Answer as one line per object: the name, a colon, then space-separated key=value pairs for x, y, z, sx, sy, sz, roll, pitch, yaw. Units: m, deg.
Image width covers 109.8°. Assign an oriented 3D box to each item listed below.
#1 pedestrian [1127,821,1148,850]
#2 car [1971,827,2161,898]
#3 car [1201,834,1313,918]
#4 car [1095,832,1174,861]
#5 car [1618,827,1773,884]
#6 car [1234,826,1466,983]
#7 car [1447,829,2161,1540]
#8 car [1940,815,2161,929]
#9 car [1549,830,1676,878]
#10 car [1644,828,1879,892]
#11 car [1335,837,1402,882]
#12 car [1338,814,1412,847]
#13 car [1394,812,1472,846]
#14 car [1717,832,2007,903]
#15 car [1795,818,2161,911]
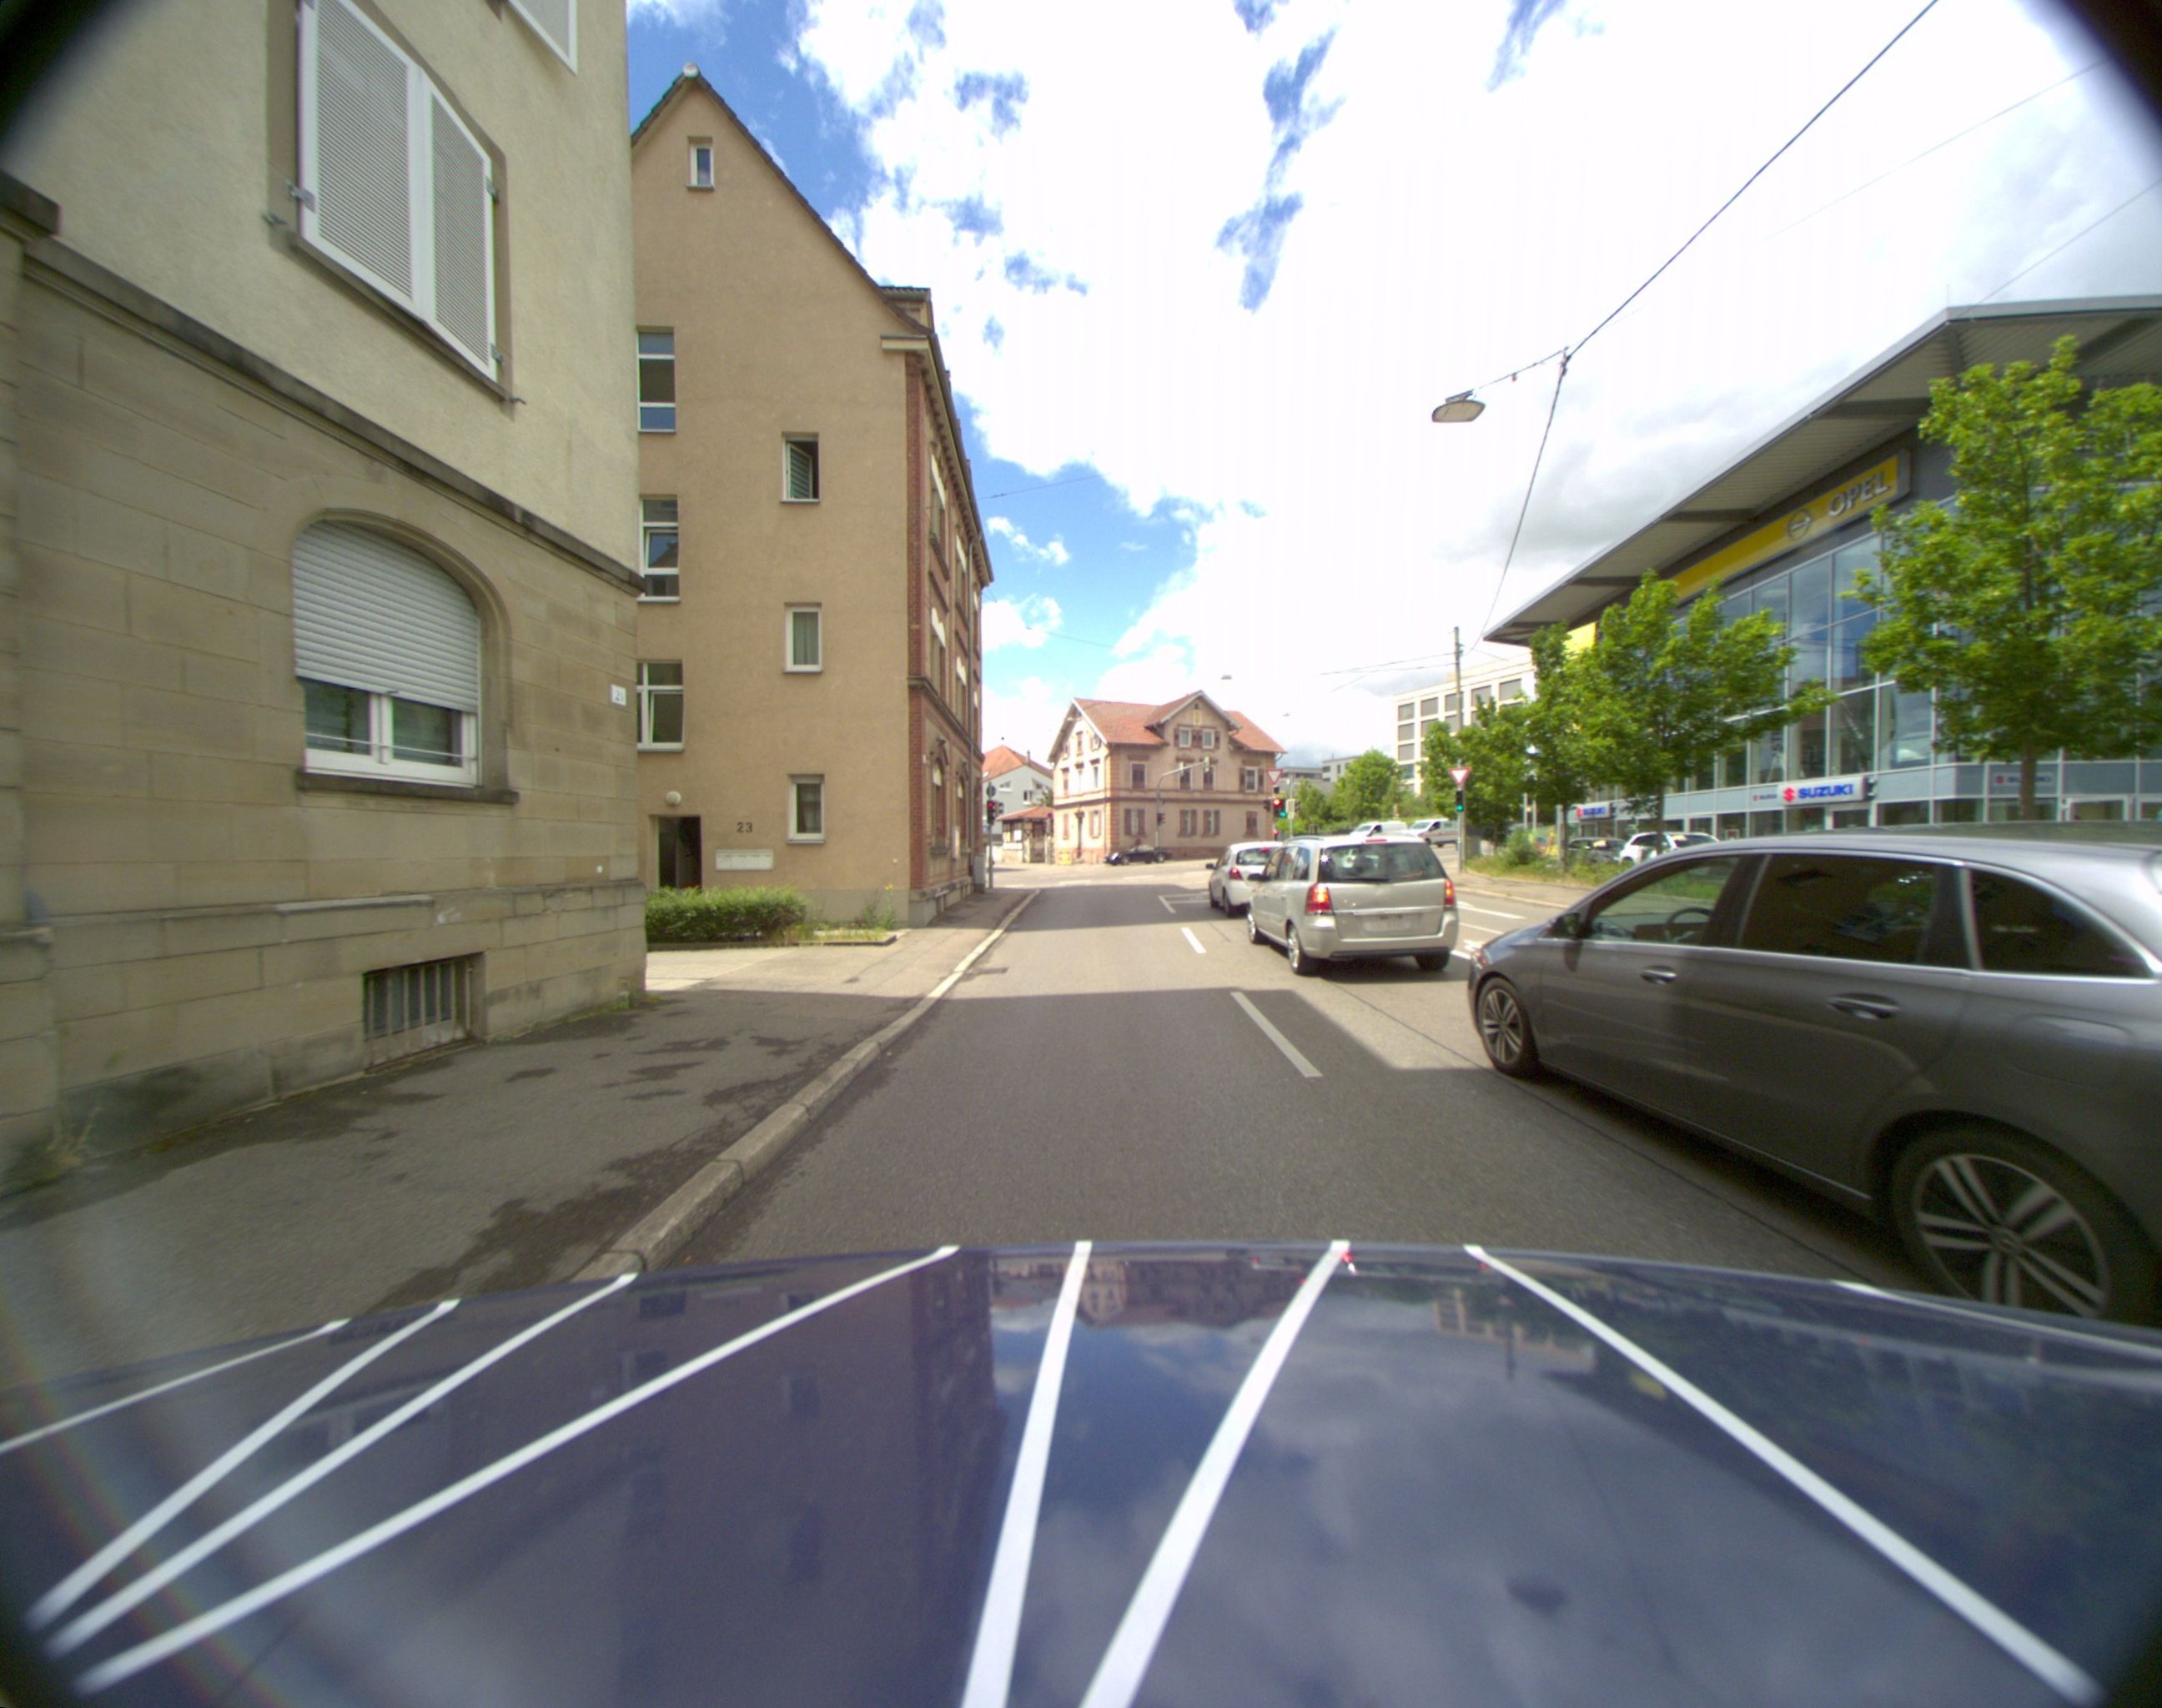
pedestrian: x=3.743 y=-1.222 z=50.372 sx=1.049 sy=1.854 sz=0.722 roll=-5 pitch=2 yaw=-19
car: x=20.581 y=0.166 z=15.509 sx=3.018 sy=1.365 sz=1.518 roll=0 pitch=0 yaw=1
car: x=3.761 y=0.374 z=16.892 sx=1.723 sy=1.572 sz=4.000 roll=-3 pitch=1 yaw=3
car: x=3.307 y=-0.461 z=46.731 sx=4.335 sy=1.458 sz=1.996 roll=-5 pitch=2 yaw=-24
car: x=18.796 y=-0.016 z=23.509 sx=1.946 sy=1.554 sz=3.997 roll=-2 pitch=1 yaw=8
car: x=3.224 y=0.475 z=10.054 sx=1.723 sy=1.572 sz=4.318 roll=-3 pitch=1 yaw=3
car: x=3.419 y=0.717 z=3.353 sx=1.723 sy=1.572 sz=4.251 roll=-3 pitch=1 yaw=3
car: x=15.396 y=0.231 z=10.803 sx=4.289 sy=1.489 sz=1.812 roll=0 pitch=0 yaw=1
car: x=19.433 y=-0.046 z=28.057 sx=1.947 sy=1.554 sz=4.306 roll=-3 pitch=1 yaw=5
car: x=16.403 y=0.147 z=18.497 sx=3.996 sy=1.489 sz=1.813 roll=0 pitch=0 yaw=4
car: x=10.629 y=0.141 z=28.404 sx=1.721 sy=1.488 sz=4.466 roll=1 pitch=2 yaw=13
car: x=21.074 y=-1.704 z=54.375 sx=4.821 sy=2.000 sz=1.996 roll=-5 pitch=2 yaw=-23
car: x=24.173 y=-1.720 z=52.155 sx=4.994 sy=1.982 sz=1.996 roll=-4 pitch=2 yaw=-24
car: x=16.165 y=0.265 z=15.918 sx=4.075 sy=1.386 sz=1.813 roll=0 pitch=0 yaw=4
car: x=15.284 y=0.167 z=13.109 sx=4.217 sy=1.489 sz=1.812 roll=0 pitch=0 yaw=1
